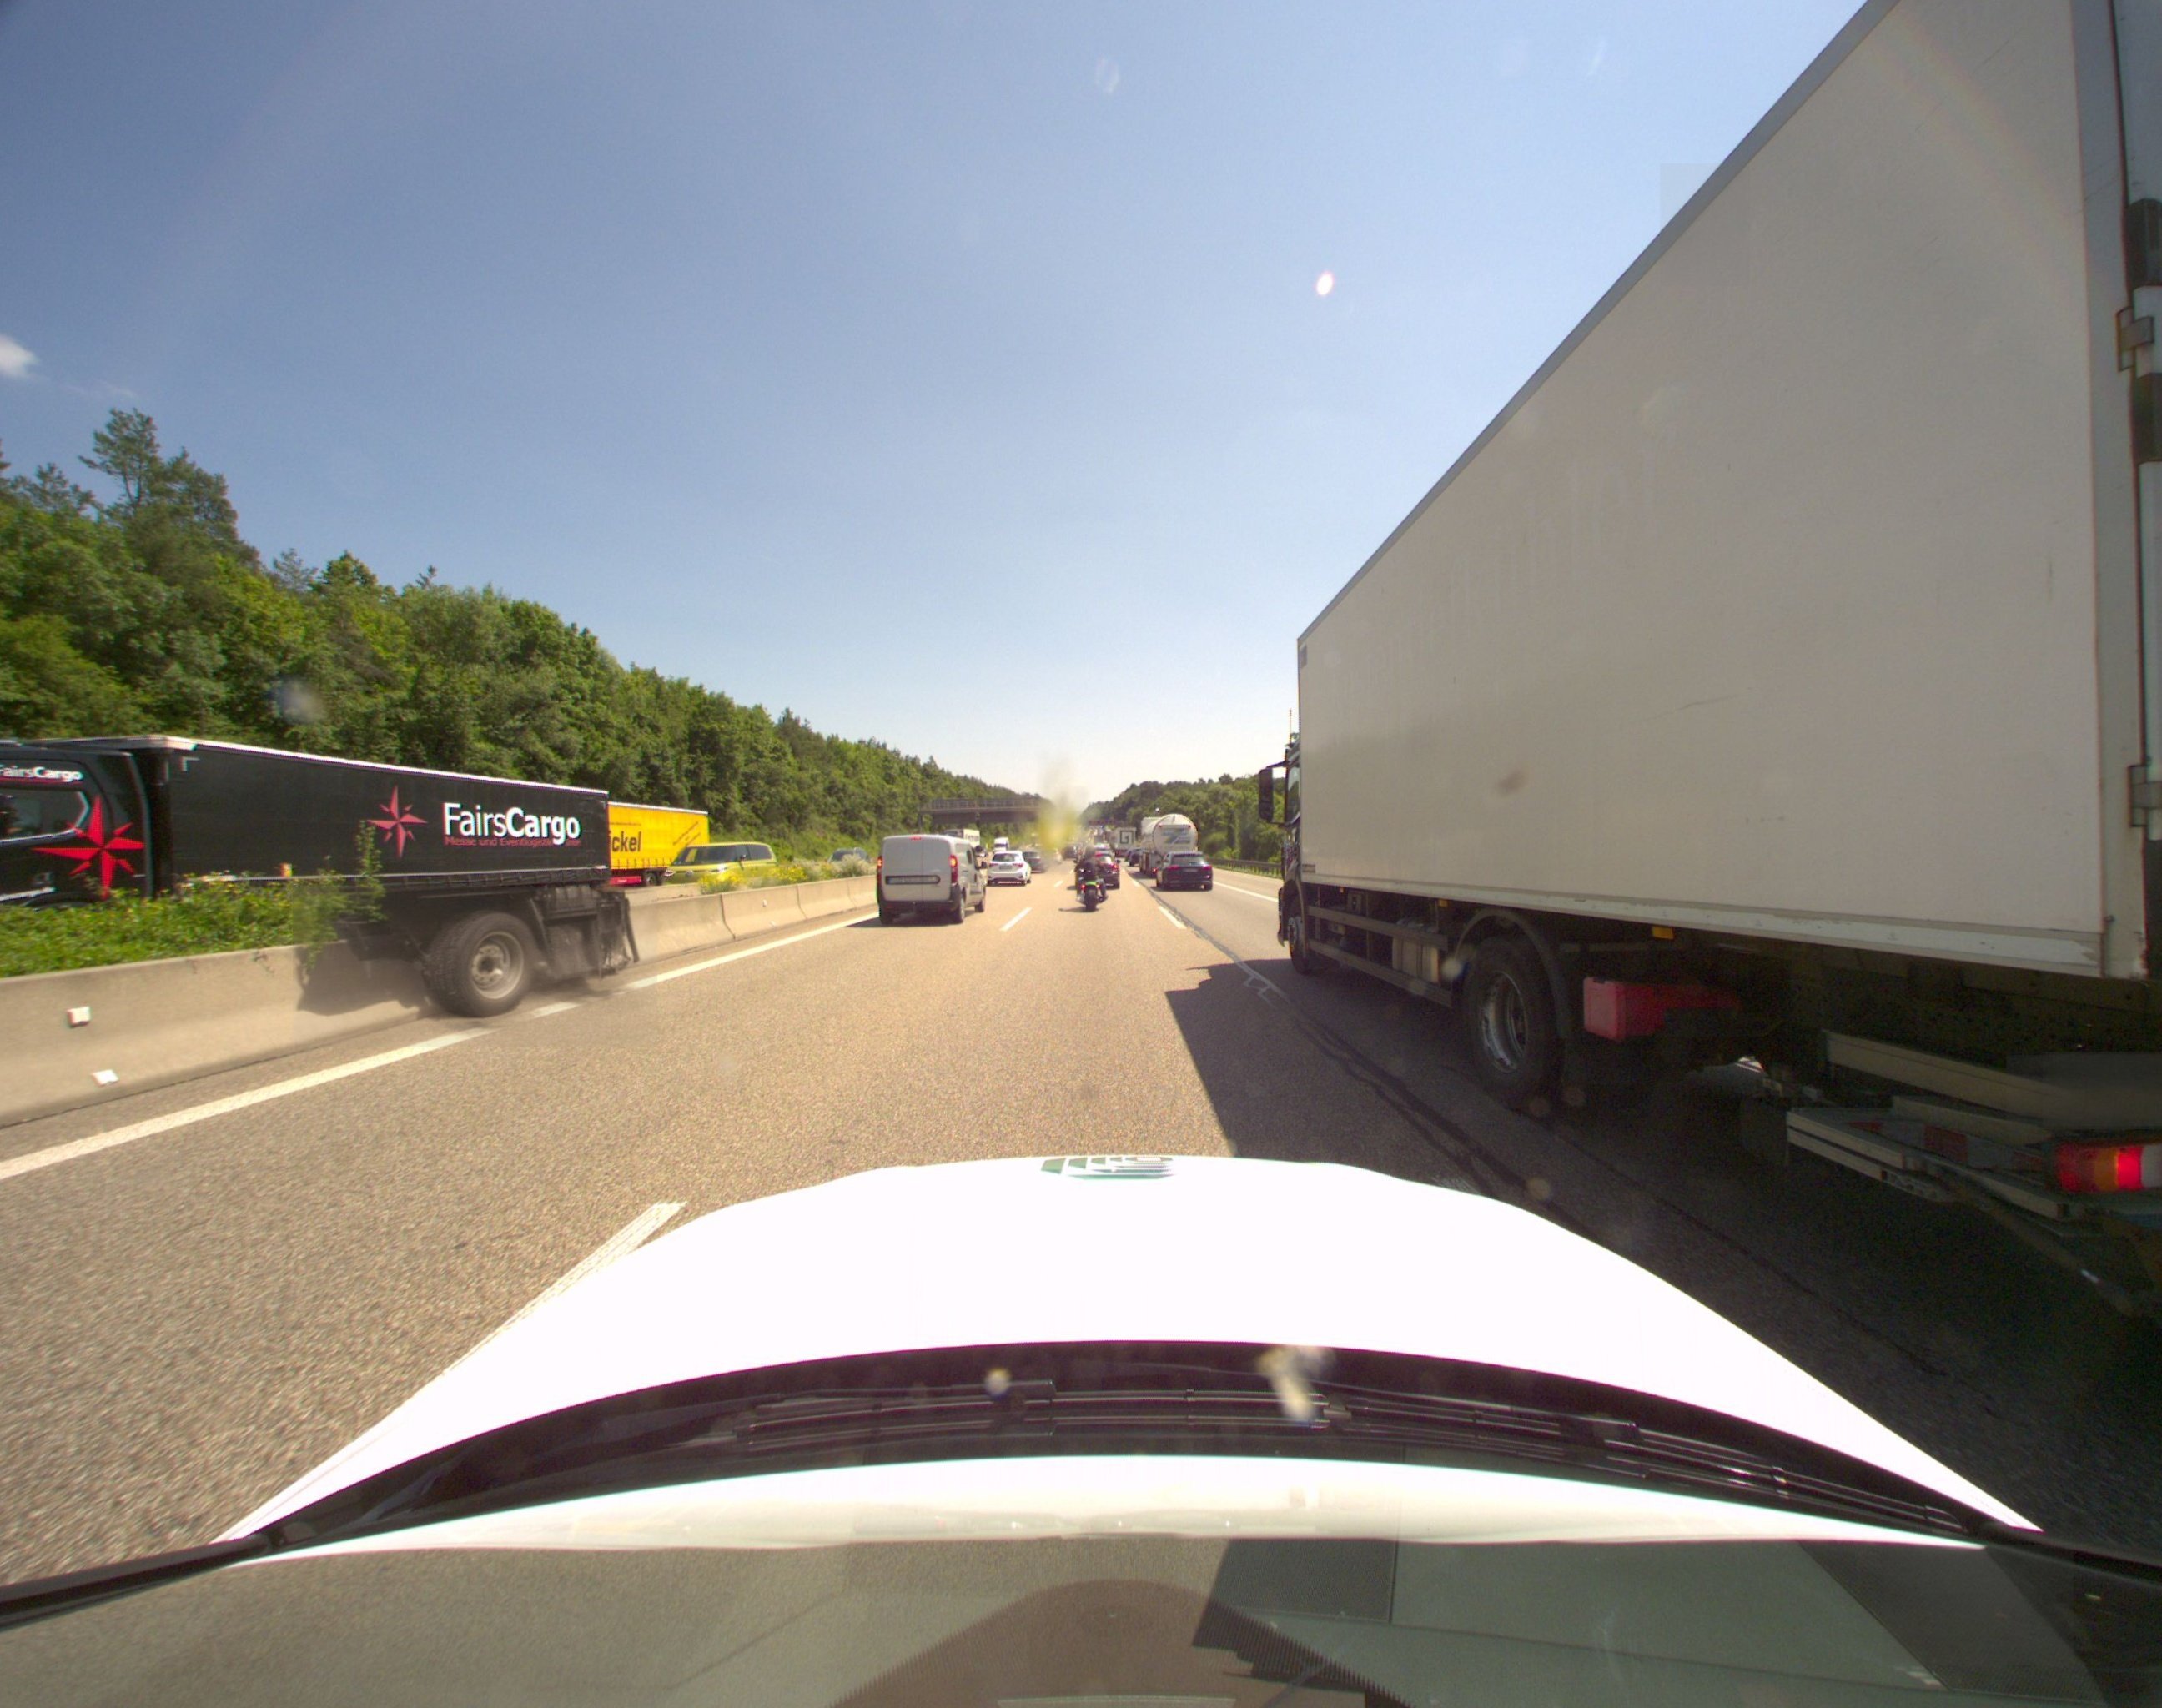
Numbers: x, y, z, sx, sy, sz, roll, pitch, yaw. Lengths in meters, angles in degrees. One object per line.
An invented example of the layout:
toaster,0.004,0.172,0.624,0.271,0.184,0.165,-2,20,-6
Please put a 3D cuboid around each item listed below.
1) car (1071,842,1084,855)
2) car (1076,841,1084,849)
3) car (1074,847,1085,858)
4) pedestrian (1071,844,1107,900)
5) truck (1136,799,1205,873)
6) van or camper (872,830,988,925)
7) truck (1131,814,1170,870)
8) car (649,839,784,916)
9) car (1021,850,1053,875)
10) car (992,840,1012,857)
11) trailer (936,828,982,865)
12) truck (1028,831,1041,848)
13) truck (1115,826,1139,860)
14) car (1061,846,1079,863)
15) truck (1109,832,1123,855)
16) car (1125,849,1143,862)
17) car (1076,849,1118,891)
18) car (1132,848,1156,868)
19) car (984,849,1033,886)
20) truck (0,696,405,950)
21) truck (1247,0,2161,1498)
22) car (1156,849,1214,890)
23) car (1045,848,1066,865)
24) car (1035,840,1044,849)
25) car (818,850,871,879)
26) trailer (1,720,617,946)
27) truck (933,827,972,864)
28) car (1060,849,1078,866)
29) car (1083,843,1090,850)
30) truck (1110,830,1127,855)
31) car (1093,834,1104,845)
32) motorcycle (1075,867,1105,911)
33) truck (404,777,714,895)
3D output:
car,-0.551,-0.917,132.989,1.922,2.013,4.002,-3,-1,2
car,-0.128,-2.277,216.092,1.986,2.013,4.001,-1,0,1
car,-0.311,-0.329,156.695,1.986,2.013,4.001,-3,-1,1
pedestrian,0.221,0.459,21.160,0.846,1.361,0.962,-3,0,2
truck,4.949,-0.892,46.752,2.977,3.671,9.290,-3,-1,1
van or camper,-3.306,0.499,18.642,1.789,1.892,4.160,-1,-1,1
truck,4.681,-0.760,55.671,1.988,3.522,4.749,-3,-1,-1
car,-11.002,0.678,24.969,1.873,2.013,4.470,-4,-1,2
car,-2.729,0.518,51.777,1.693,1.478,4.001,-1,0,1
car,-11.888,-0.803,123.092,1.986,2.377,7.367,-1,0,1
trailer,-16.542,-0.957,111.459,3.711,4.528,13.334,-3,-1,1
truck,-13.955,-4.267,244.762,2.755,4.740,10.475,-1,0,1
truck,6.328,-1.518,113.859,3.022,4.542,9.985,0,0,1
car,-1.252,0.047,95.521,1.873,1.859,4.002,-1,0,2
truck,7.824,-2.325,183.834,3.022,5.139,9.985,0,0,1
car,5.918,0.126,91.109,1.780,1.374,3.804,-1,0,1
car,0.638,0.612,32.905,1.527,1.510,4.000,-3,0,1
car,5.273,0.296,68.752,1.780,1.555,3.804,-1,0,1
car,-3.138,0.557,36.085,1.693,1.478,4.001,-1,0,1
truck,-18.233,-0.388,16.143,2.896,3.974,7.770,-3,-1,1
truck,3.656,-0.661,6.611,2.678,3.876,9.784,-4,0,2
car,3.960,0.566,31.618,1.822,1.470,4.001,-1,0,1
car,-2.365,0.197,75.664,1.693,1.478,4.001,-1,0,1
car,-10.473,-2.484,204.880,1.873,2.013,4.470,-4,-1,2
car,-14.015,0.608,48.482,1.679,1.558,4.423,-3,-1,2
trailer,-18.120,-0.323,21.861,2.896,3.974,13.891,-3,-1,1
truck,-16.691,-1.039,106.363,3.712,4.528,7.326,-3,-1,1
car,-1.552,0.451,104.810,1.986,2.013,4.002,-3,-1,2
car,1.518,-2.136,235.318,1.986,2.013,4.001,-1,0,1
truck,6.992,-2.071,153.294,3.022,4.542,9.985,0,0,1
car,4.166,-3.518,197.168,2.495,2.587,5.018,-1,0,1
motorcycle,0.254,0.876,20.925,0.689,1.015,2.123,-1,0,3
truck,-21.771,-0.568,36.365,3.026,3.983,16.268,-2,-1,1
